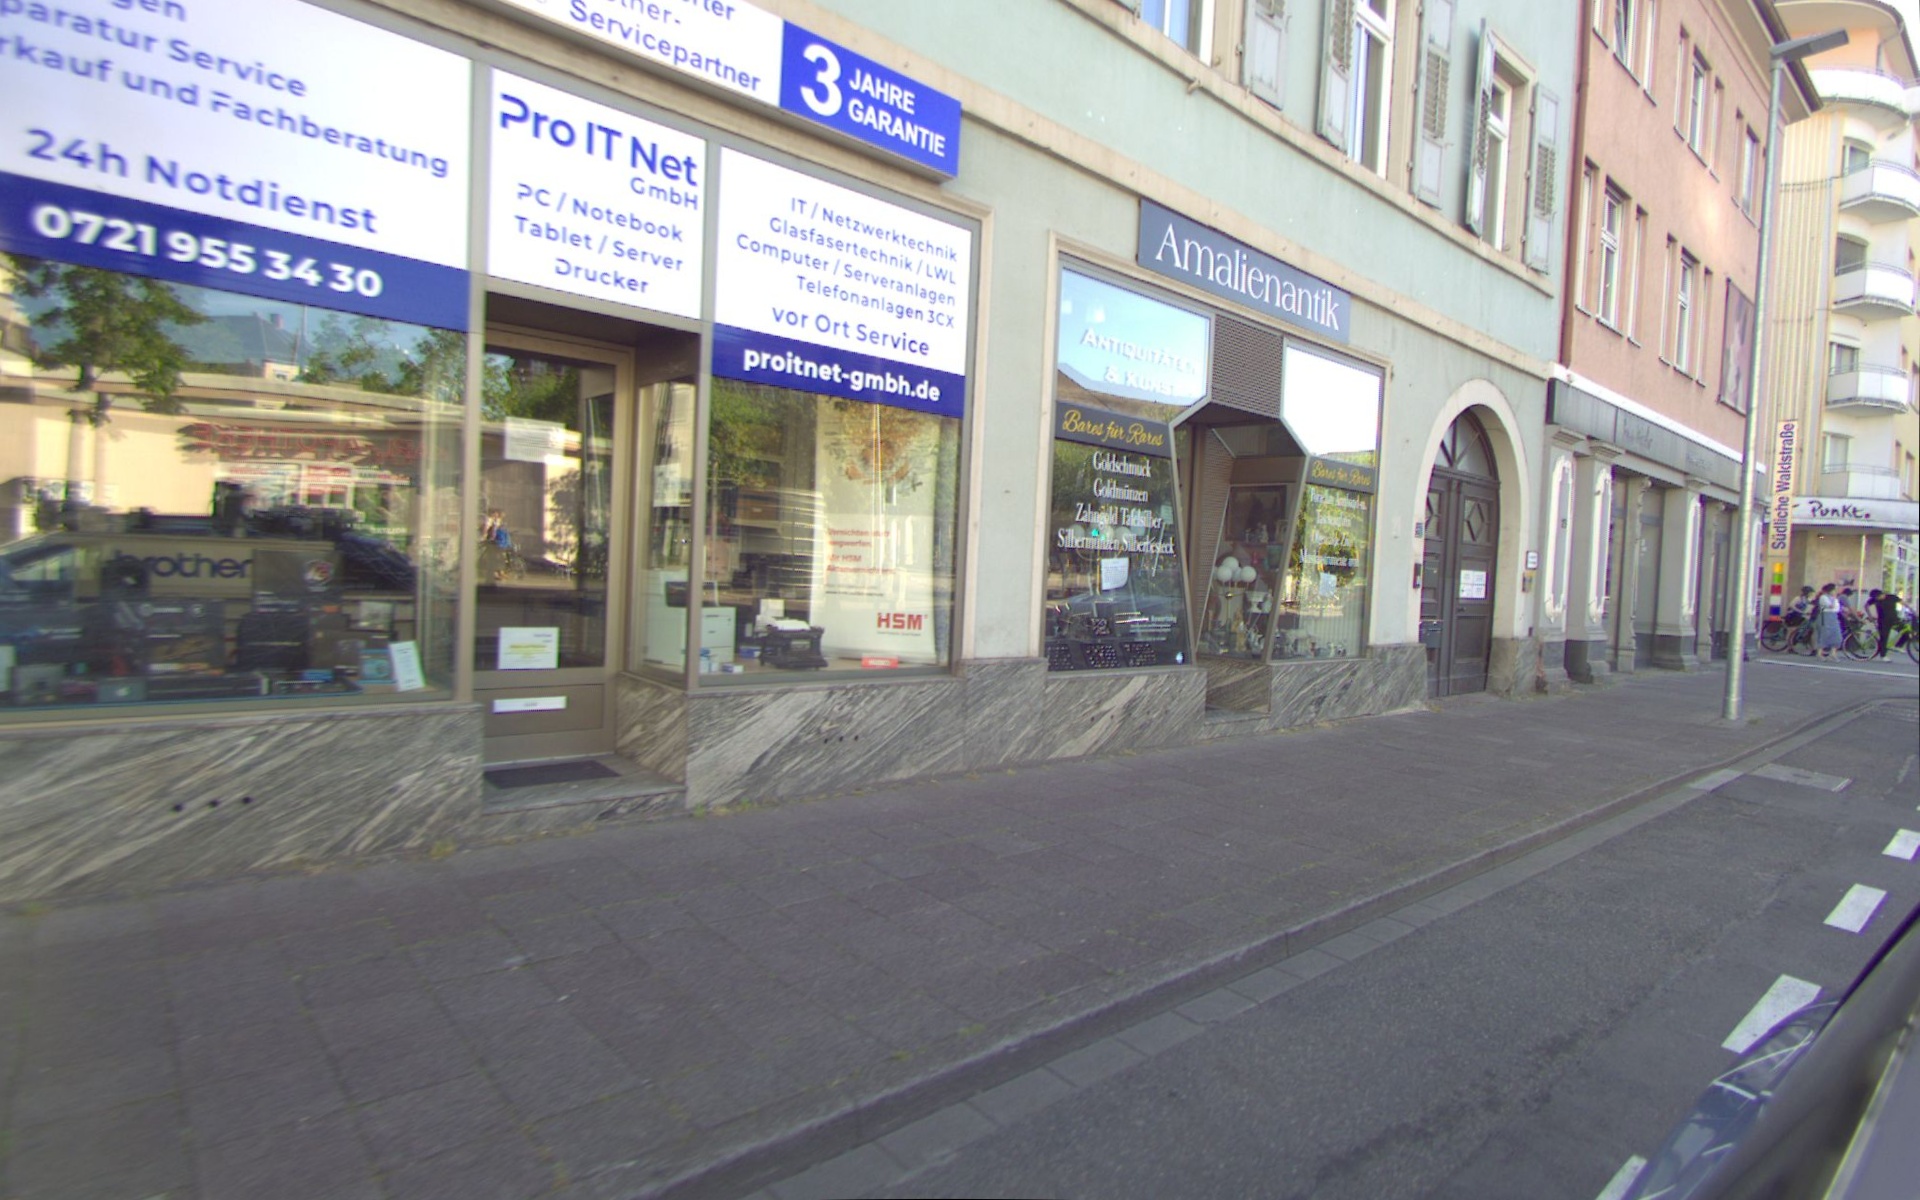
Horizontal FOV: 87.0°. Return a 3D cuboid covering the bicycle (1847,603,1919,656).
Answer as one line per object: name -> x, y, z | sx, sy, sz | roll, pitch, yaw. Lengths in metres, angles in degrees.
bicycle -> 21.333, 0.677, 22.869 | 0.548, 1.032, 1.921 | 2, 4, -13

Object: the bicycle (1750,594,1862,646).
bicycle -> 20.296, 0.463, 24.330 | 0.718, 1.110, 1.925 | 2, 2, -19

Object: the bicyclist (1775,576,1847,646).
bicyclist -> 20.335, 0.248, 24.207 | 0.711, 1.602, 1.033 | 2, 2, -19

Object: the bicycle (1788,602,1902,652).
bicycle -> 20.061, 0.596, 22.980 | 1.805, 1.006, 0.559 | 3, 2, 28

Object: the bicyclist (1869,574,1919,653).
bicyclist -> 21.294, 0.293, 22.637 | 0.711, 1.705, 1.135 | 2, 2, -13

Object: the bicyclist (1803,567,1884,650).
bicyclist -> 20.034, 0.178, 22.977 | 1.131, 1.783, 0.746 | 3, 2, 27

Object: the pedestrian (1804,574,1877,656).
pedestrian -> 18.806, 0.303, 21.639 | 0.751, 1.679, 0.816 | 2, 1, -4

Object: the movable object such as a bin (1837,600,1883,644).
movable object such as a bin -> 24.059, 0.581, 27.057 | 0.610, 1.126, 0.809 | 1, 3, -42
